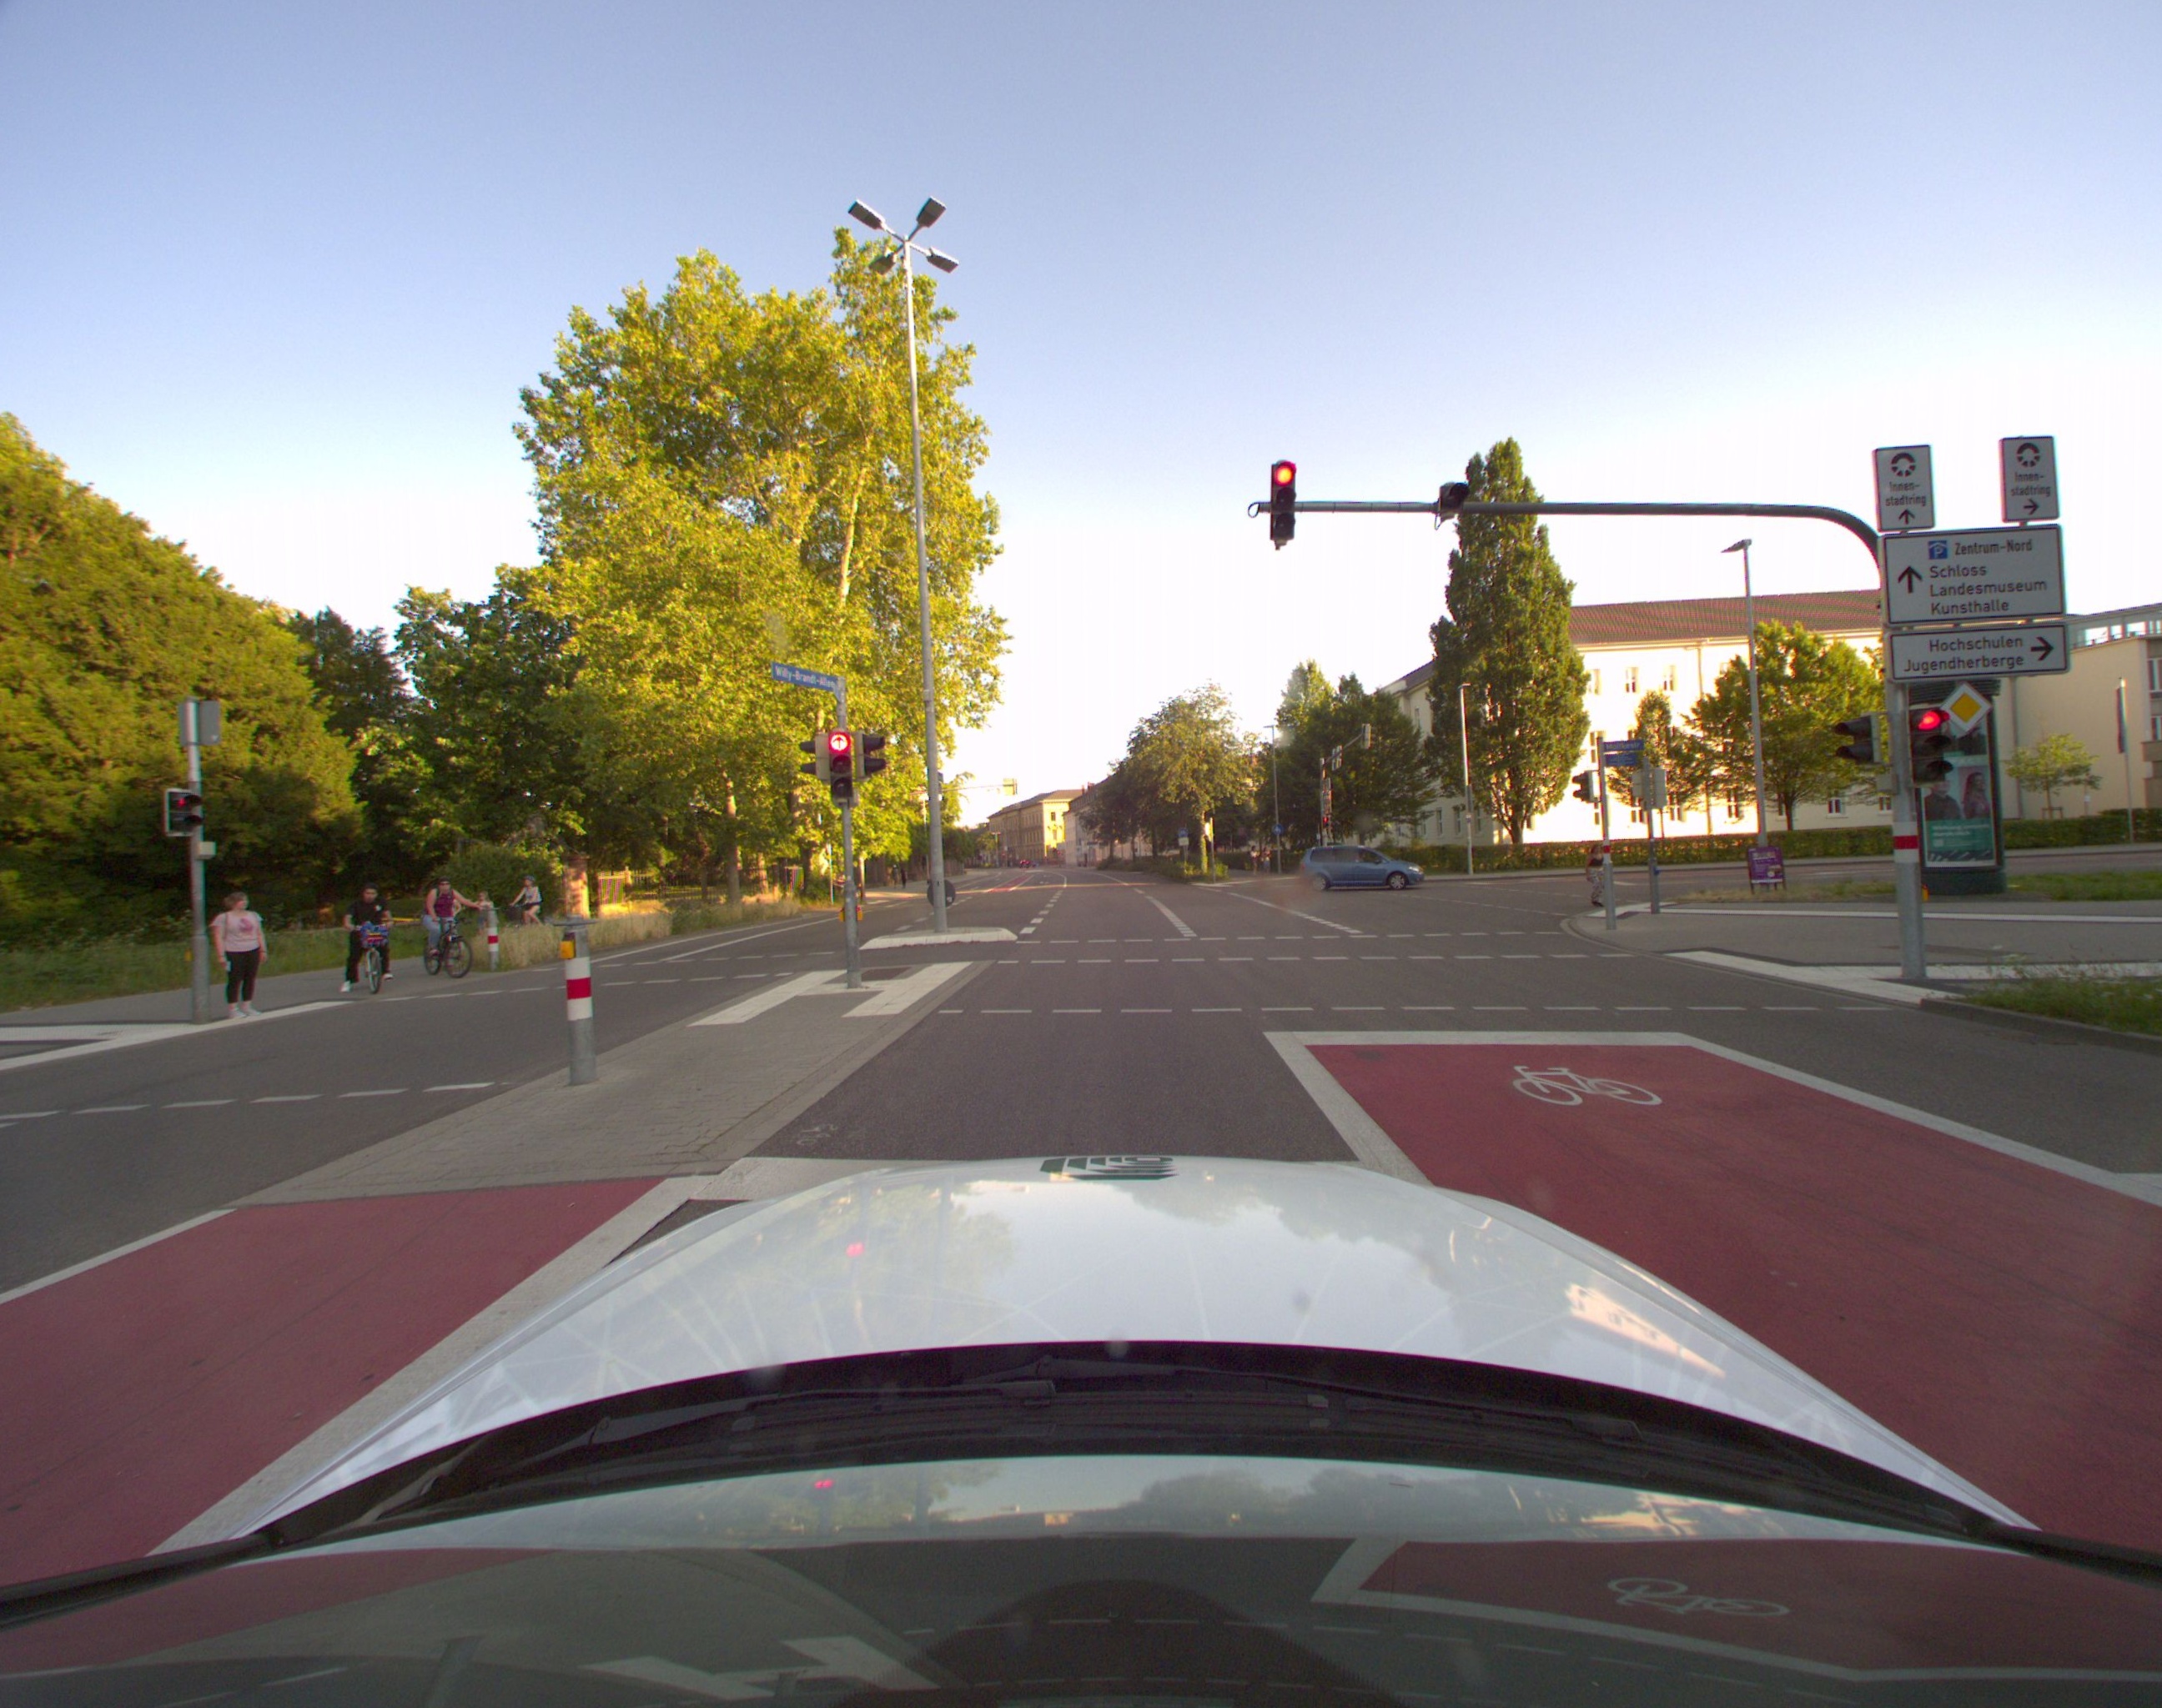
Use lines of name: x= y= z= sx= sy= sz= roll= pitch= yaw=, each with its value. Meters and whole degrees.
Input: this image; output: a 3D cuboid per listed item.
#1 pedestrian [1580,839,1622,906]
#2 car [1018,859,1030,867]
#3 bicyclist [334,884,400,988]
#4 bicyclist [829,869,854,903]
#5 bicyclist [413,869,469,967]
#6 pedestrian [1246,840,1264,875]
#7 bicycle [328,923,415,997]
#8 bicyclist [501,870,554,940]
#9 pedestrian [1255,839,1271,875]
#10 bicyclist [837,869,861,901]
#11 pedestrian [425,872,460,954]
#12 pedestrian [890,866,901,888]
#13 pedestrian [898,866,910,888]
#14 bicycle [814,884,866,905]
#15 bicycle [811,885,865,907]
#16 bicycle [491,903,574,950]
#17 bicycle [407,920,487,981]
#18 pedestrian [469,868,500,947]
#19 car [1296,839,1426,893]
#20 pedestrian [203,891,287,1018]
pedestrian: x=13.060 y=0.447 z=20.476 sx=0.597 sy=1.636 sz=0.692 roll=-2 pitch=0 yaw=3
car: x=-11.914 y=1.873 z=170.251 sx=1.821 sy=1.588 sz=3.983 roll=-4 pitch=0 yaw=-12
bicyclist: x=-11.914 y=1.354 z=13.594 sx=0.631 sy=1.649 sz=0.634 roll=-3 pitch=-1 yaw=32
bicyclist: x=-11.961 y=1.590 z=40.711 sx=0.954 sy=1.631 sz=0.753 roll=-3 pitch=0 yaw=2
bicyclist: x=-11.974 y=1.183 z=15.239 sx=0.631 sy=1.780 sz=0.580 roll=-3 pitch=-1 yaw=32
pedestrian: x=10.083 y=0.204 z=47.299 sx=0.867 sy=2.014 sz=0.723 roll=-2 pitch=-1 yaw=1
bicycle: x=-11.784 y=1.727 z=13.511 sx=1.548 sy=1.111 sz=0.637 roll=-3 pitch=-1 yaw=32
bicyclist: x=-14.462 y=1.313 z=21.315 sx=0.754 sy=1.728 sz=0.942 roll=-2 pitch=-1 yaw=-7
pedestrian: x=10.340 y=0.157 z=46.282 sx=0.633 sy=2.014 sz=0.720 roll=-2 pitch=-1 yaw=-2
bicyclist: x=-12.108 y=1.602 z=42.562 sx=0.954 sy=1.631 sz=0.753 roll=-3 pitch=0 yaw=2
pedestrian: x=-16.320 y=1.488 z=20.825 sx=0.654 sy=2.014 sz=0.599 roll=-1 pitch=-1 yaw=-37
pedestrian: x=-13.704 y=1.676 z=60.185 sx=0.533 sy=1.596 sz=0.591 roll=-3 pitch=0 yaw=1
pedestrian: x=-13.073 y=1.665 z=60.161 sx=0.597 sy=1.573 sz=0.646 roll=-3 pitch=0 yaw=1
bicycle: x=-12.584 y=2.116 z=42.574 sx=2.420 sy=0.924 sz=0.775 roll=-3 pitch=0 yaw=2
bicycle: x=-12.149 y=2.088 z=40.699 sx=2.420 sy=0.924 sz=0.775 roll=-3 pitch=0 yaw=2
bicycle: x=-14.427 y=1.872 z=21.520 sx=0.738 sy=1.033 sz=2.294 roll=-2 pitch=0 yaw=-4
bicycle: x=-11.791 y=1.760 z=15.129 sx=1.749 sy=1.030 sz=0.583 roll=-3 pitch=0 yaw=32
pedestrian: x=-15.676 y=1.383 z=21.386 sx=0.598 sy=2.014 sz=0.634 roll=-1 pitch=-1 yaw=-38
car: x=10.160 y=0.424 z=29.550 sx=4.243 sy=1.720 sz=1.866 roll=-2 pitch=2 yaw=23
pedestrian: x=-11.746 y=1.399 z=11.448 sx=0.604 sy=1.695 sz=0.499 roll=-3 pitch=0 yaw=3
